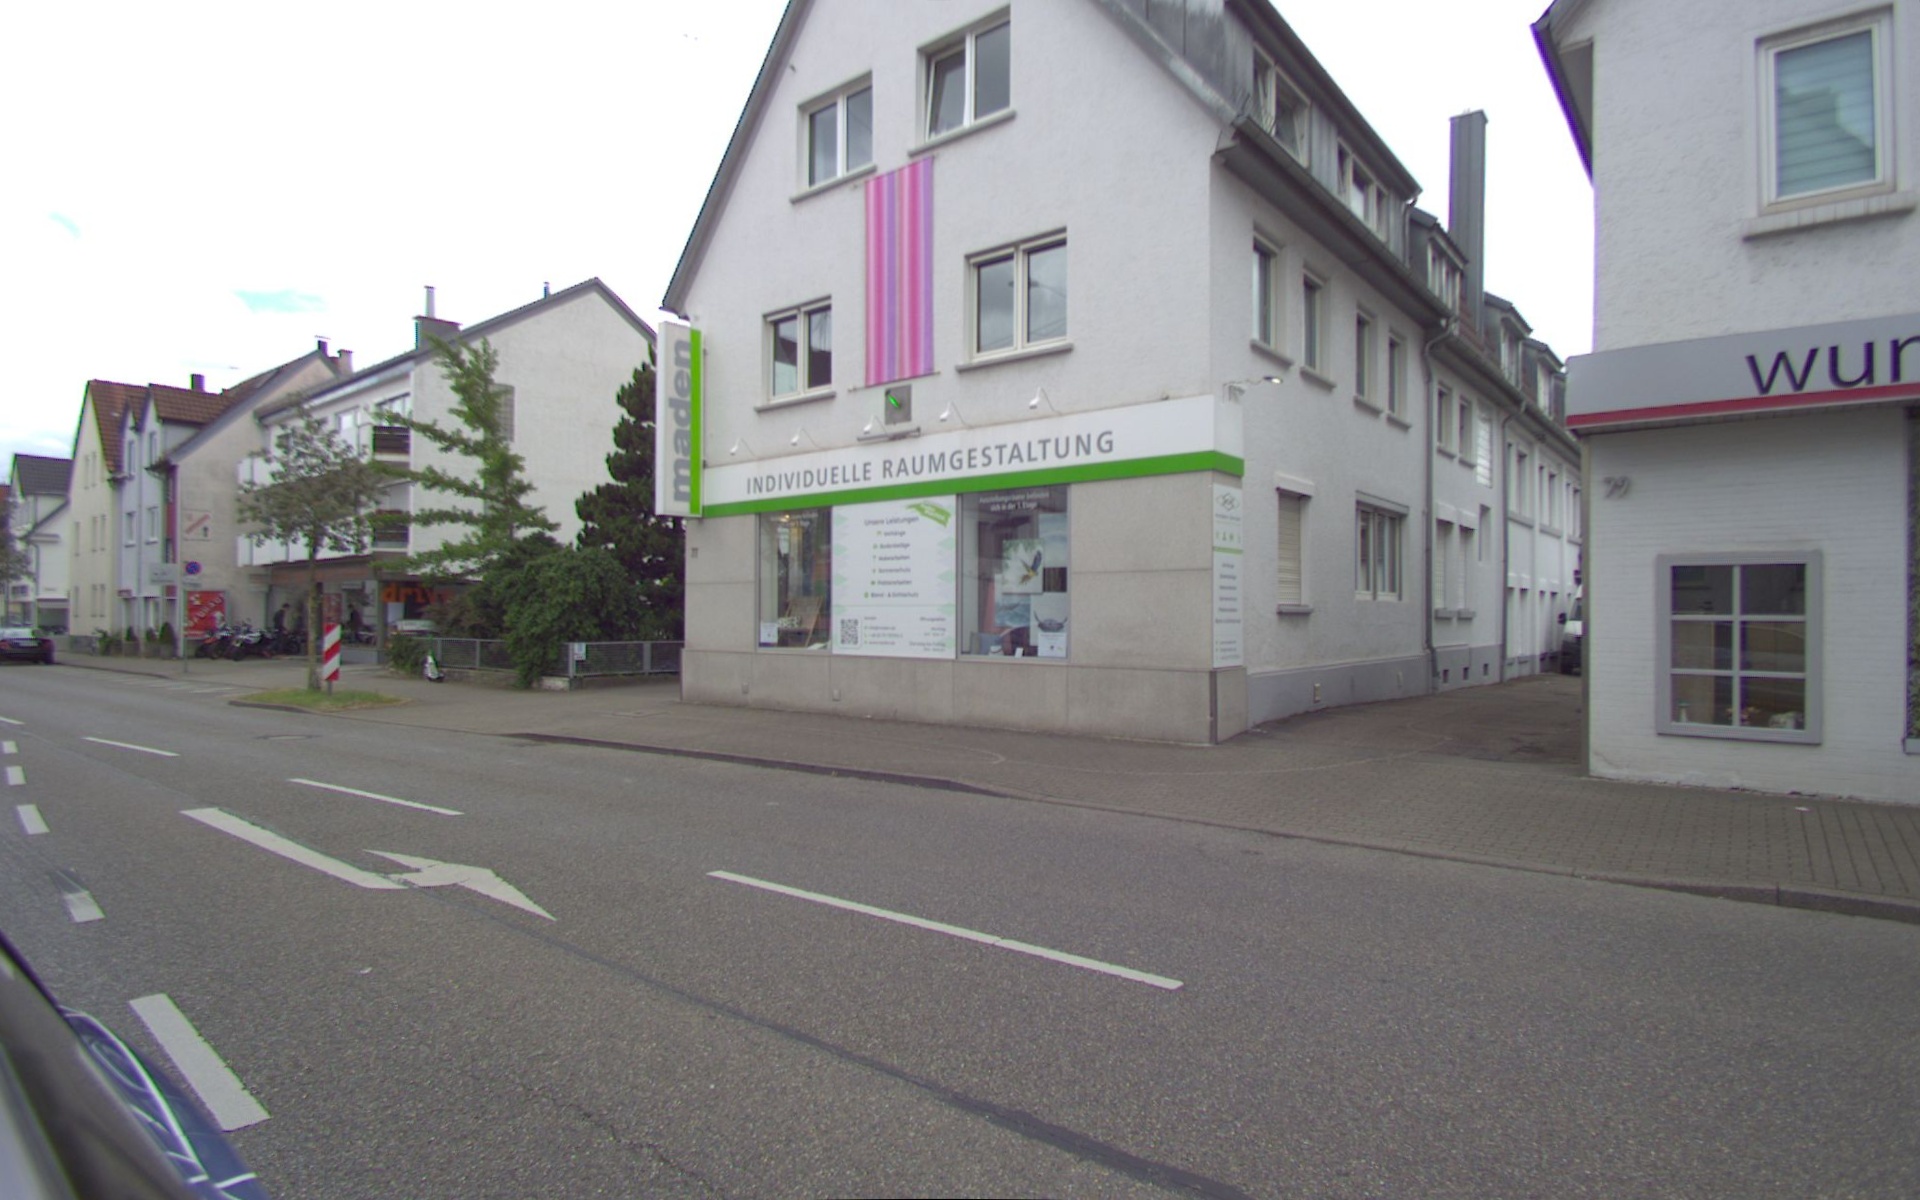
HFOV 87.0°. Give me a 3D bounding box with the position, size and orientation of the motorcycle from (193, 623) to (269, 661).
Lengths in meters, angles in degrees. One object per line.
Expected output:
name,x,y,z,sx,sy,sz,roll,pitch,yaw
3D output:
motorcycle,-27.459,1.569,38.147,0.612,1.275,2.204,-1,1,38

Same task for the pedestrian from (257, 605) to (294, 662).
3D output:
pedestrian,-23.488,1.144,34.727,1.019,1.863,0.744,-1,2,40

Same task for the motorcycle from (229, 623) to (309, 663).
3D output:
motorcycle,-24.327,1.497,35.657,0.612,1.275,2.204,-1,1,38

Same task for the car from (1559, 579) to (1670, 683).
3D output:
car,18.151,0.756,27.917,1.957,2.527,5.918,2,1,38

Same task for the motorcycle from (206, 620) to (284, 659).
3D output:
motorcycle,-26.275,1.440,37.208,0.698,1.275,2.204,-1,1,38

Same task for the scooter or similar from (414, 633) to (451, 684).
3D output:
scooter or similar,-12.008,1.323,23.043,1.179,1.120,0.336,-1,-1,41

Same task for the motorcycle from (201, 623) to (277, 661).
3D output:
motorcycle,-26.868,1.558,37.732,0.612,1.275,2.204,-1,1,38

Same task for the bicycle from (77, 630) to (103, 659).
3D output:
bicycle,-37.674,1.912,43.814,2.022,1.205,0.509,-1,-1,39

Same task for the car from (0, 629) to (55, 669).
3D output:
car,-36.264,1.845,38.737,4.337,1.428,1.770,-1,-2,39

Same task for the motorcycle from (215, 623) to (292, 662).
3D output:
motorcycle,-25.656,1.535,36.794,0.612,1.275,2.204,-1,1,38

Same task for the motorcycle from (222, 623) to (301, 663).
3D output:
motorcycle,-24.983,1.522,36.231,0.612,1.275,2.204,-1,1,38
